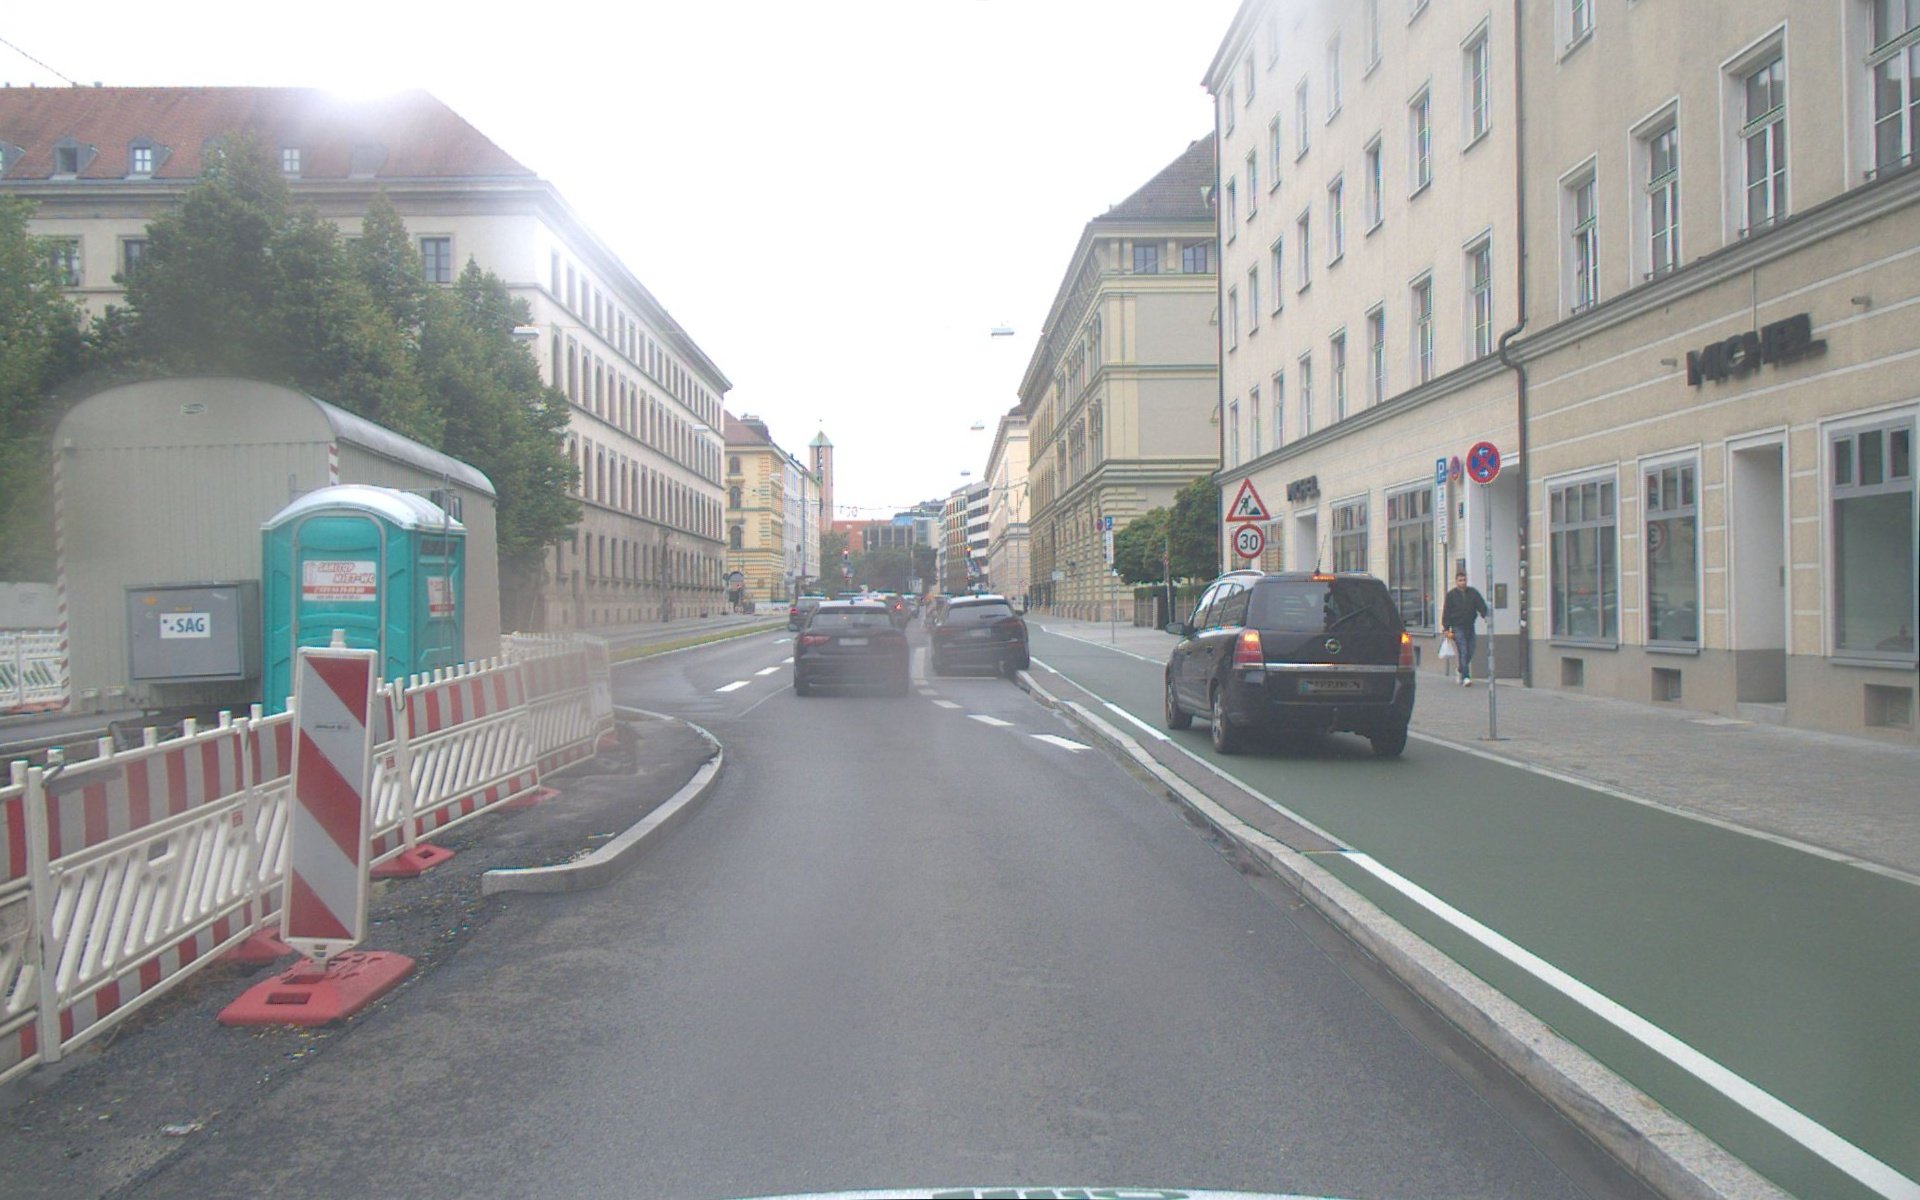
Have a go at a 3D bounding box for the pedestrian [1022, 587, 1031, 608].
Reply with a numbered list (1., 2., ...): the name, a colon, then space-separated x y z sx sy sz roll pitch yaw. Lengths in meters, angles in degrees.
1. pedestrian: 5.291 -0.212 131.703 0.695 1.646 0.754 -1 0 -2

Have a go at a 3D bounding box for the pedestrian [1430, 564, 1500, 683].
1. pedestrian: 7.685 0.353 25.207 0.777 1.776 0.833 -1 0 -1

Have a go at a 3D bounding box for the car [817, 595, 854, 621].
1. car: -7.503 0.475 99.719 1.953 1.469 3.999 -1 0 -1

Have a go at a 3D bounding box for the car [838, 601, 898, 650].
1. car: -2.809 0.762 51.252 1.695 1.427 3.999 1 0 -1

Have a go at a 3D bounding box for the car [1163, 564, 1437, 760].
1. car: 3.126 0.517 16.002 1.729 1.644 4.029 0 0 -2

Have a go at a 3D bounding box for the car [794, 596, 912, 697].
1. car: -1.737 0.670 25.926 1.696 1.427 3.995 1 0 -6

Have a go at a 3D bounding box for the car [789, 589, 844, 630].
1. car: -5.962 0.384 68.949 1.953 1.656 3.999 -1 0 -1

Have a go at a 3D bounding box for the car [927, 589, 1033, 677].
1. car: 0.334 0.606 33.189 1.773 1.506 4.460 -5 0 -3

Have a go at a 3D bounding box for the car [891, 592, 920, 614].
1. car: -3.812 0.190 116.428 1.953 1.469 3.999 -1 0 -1

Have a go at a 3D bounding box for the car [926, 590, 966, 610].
1. car: -1.258 -0.034 151.471 1.955 1.780 3.995 -1 0 28

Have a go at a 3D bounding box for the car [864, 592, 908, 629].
1. car: -3.045 0.426 68.912 1.695 1.486 3.999 1 0 -1
